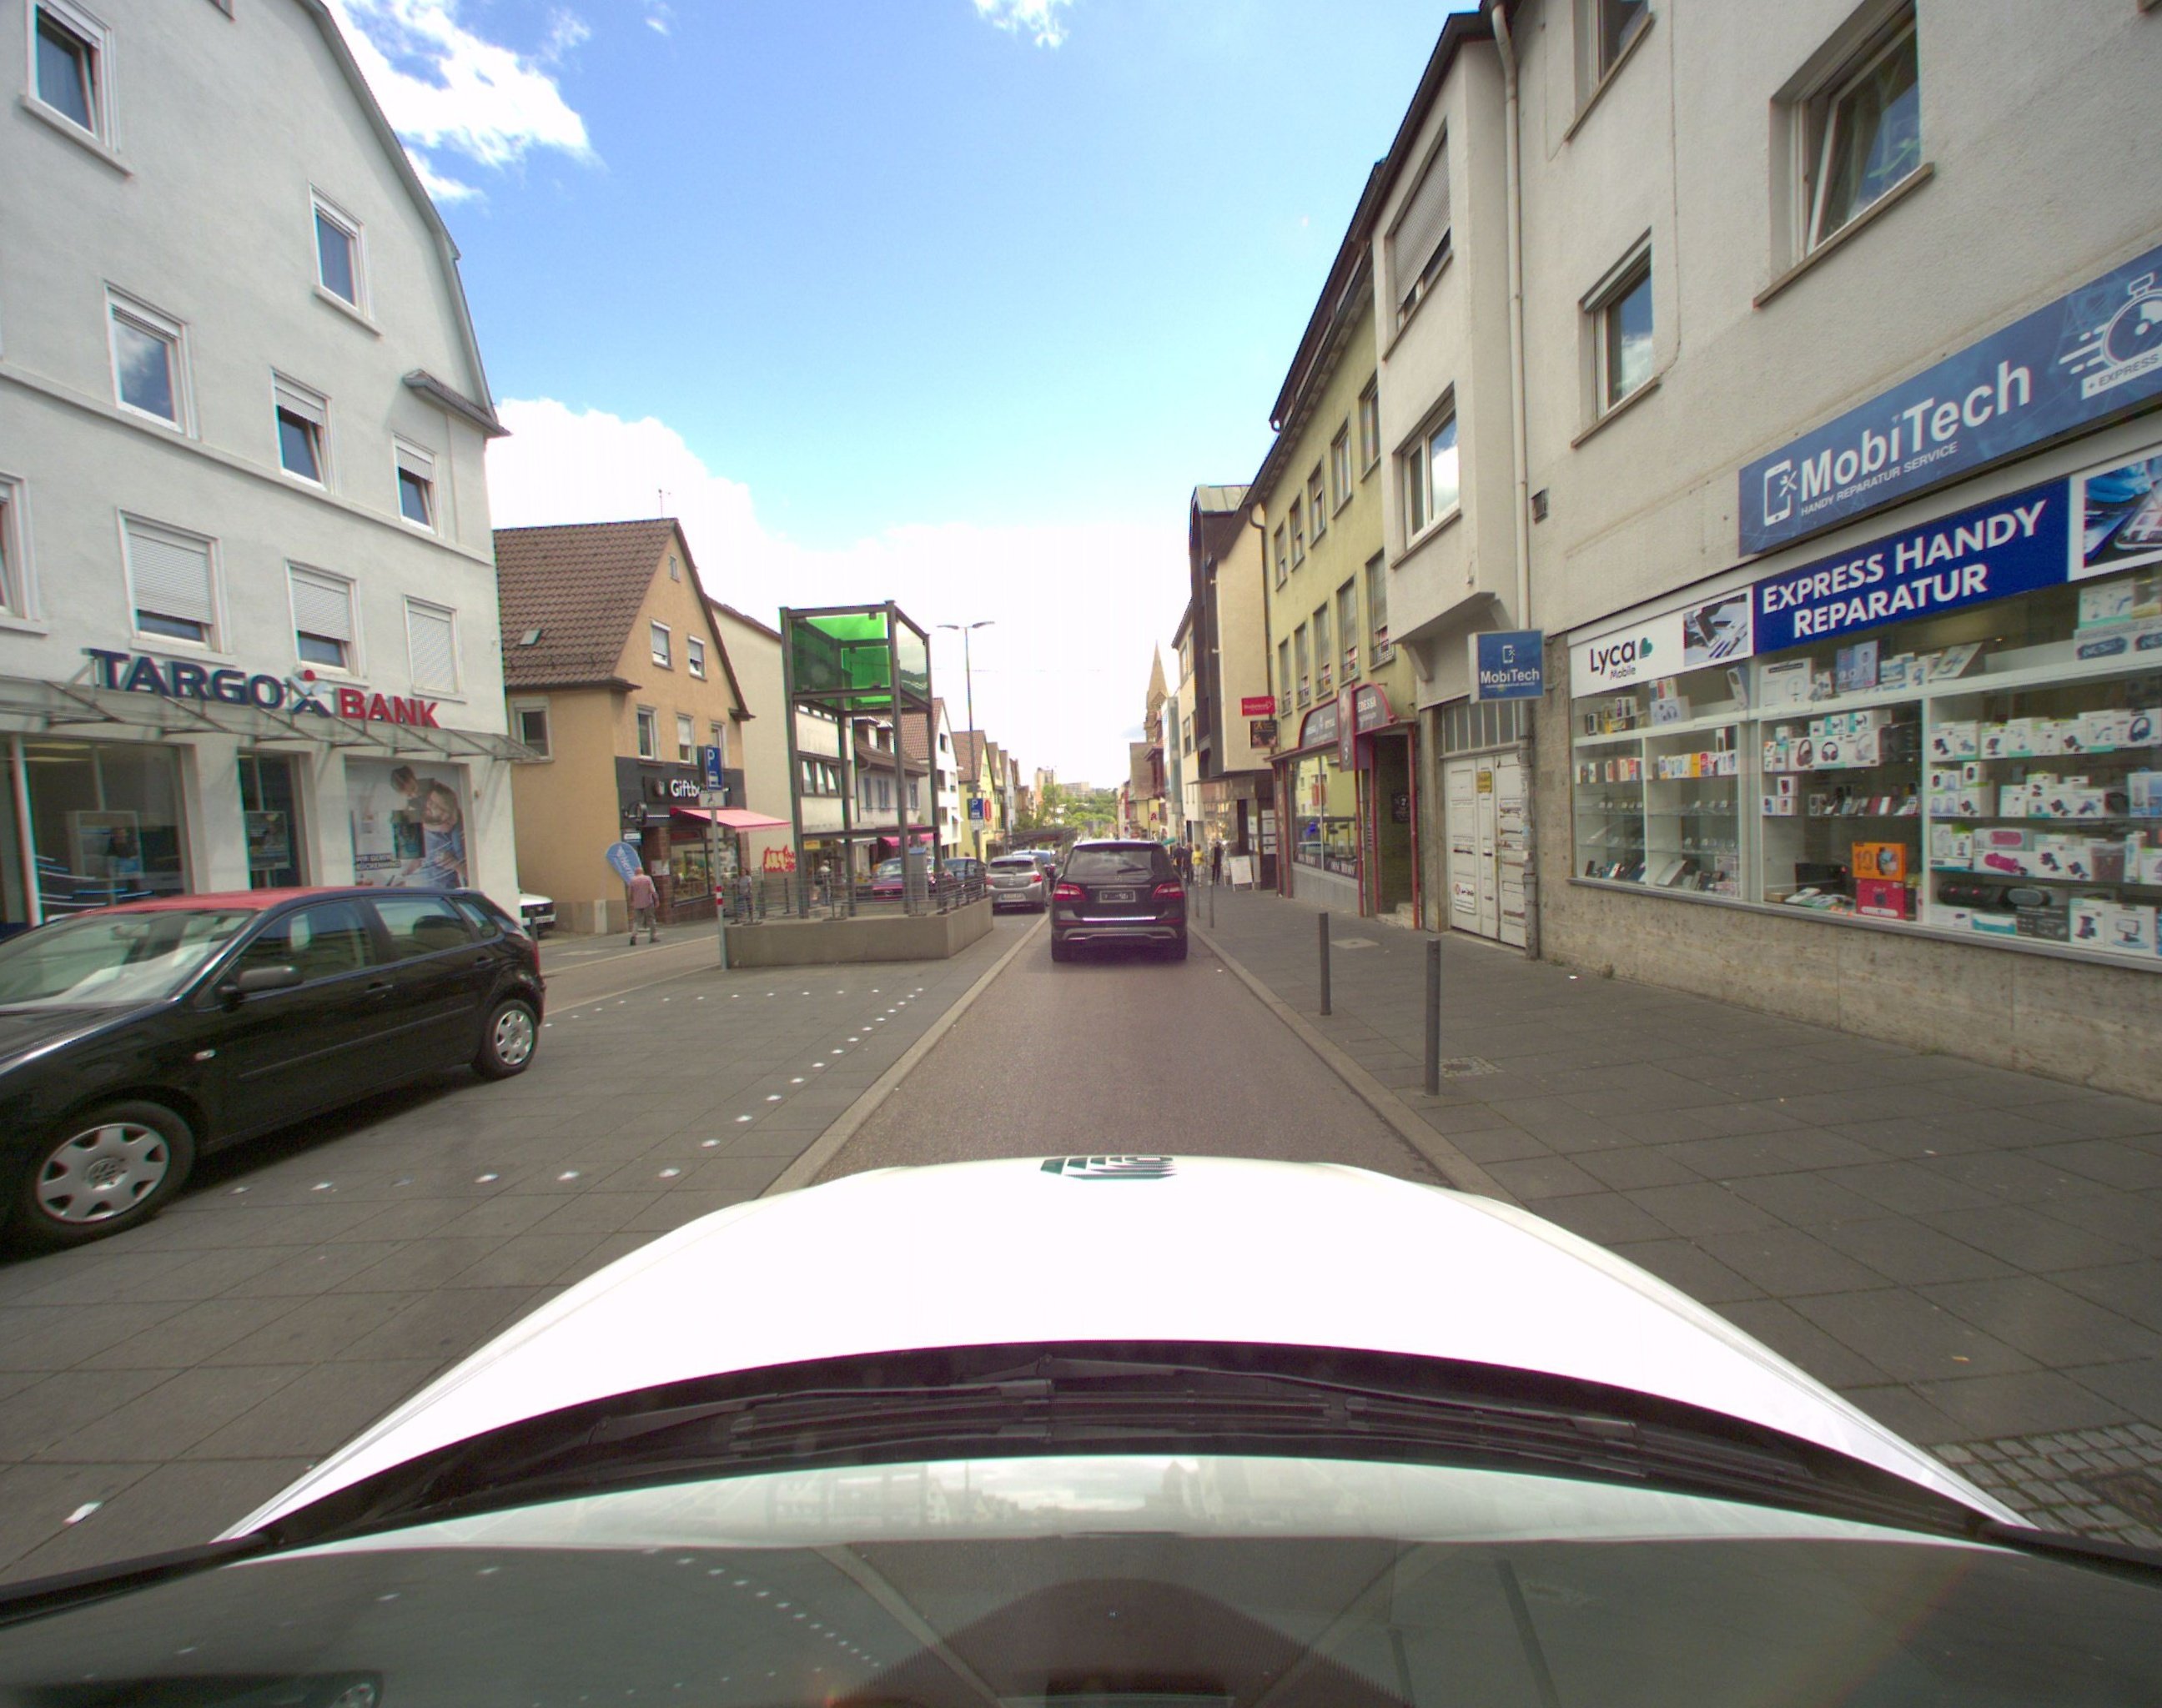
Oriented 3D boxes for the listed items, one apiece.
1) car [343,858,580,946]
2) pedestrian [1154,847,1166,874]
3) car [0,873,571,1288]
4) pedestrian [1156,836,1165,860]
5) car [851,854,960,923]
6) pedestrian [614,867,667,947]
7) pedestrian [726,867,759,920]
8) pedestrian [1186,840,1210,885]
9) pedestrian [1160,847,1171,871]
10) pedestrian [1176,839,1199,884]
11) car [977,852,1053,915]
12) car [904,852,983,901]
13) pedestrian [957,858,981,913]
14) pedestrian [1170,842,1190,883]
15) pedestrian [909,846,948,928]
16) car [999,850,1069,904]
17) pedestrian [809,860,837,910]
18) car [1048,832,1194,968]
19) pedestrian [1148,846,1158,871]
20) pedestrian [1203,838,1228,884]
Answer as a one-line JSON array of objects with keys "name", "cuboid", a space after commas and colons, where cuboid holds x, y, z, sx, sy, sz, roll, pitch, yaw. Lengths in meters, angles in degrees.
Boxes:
[{"name": "car", "cuboid": [-14.420, 1.072, 19.132, 4.056, 1.873, 1.883, 1, 0, 1]}, {"name": "pedestrian", "cuboid": [4.959, 0.432, 51.259, 0.620, 1.689, 0.565, -1, 0, -5]}, {"name": "car", "cuboid": [-4.891, 0.917, 4.635, 1.564, 1.475, 3.854, -2, 0, -1]}, {"name": "pedestrian", "cuboid": [5.769, -0.442, 59.098, 0.572, 1.689, 0.565, -1, 0, -5]}, {"name": "car", "cuboid": [-4.305, 0.793, 20.607, 1.732, 1.543, 4.194, -1, 0, 1]}, {"name": "pedestrian", "cuboid": [-9.625, 1.139, 17.812, 0.636, 1.689, 0.829, -2, 0, 6]}, {"name": "pedestrian", "cuboid": [-10.344, 1.195, 24.907, 0.563, 1.573, 0.717, -4, 0, 1]}, {"name": "pedestrian", "cuboid": [4.364, 0.306, 30.462, 0.708, 1.631, 0.835, -4, 0, 1]}, {"name": "pedestrian", "cuboid": [6.026, 0.346, 58.074, 0.572, 1.689, 0.565, -4, 0, -5]}, {"name": "pedestrian", "cuboid": [4.239, 0.300, 32.469, 0.708, 1.753, 0.785, -4, 0, 1]}, {"name": "car", "cuboid": [-1.675, 0.727, 21.772, 1.614, 1.532, 3.671, -1, 0, 1]}, {"name": "car", "cuboid": [-4.503, 0.706, 27.241, 1.731, 1.475, 3.888, 0, 1, 4]}, {"name": "pedestrian", "cuboid": [-3.006, 0.831, 21.858, 0.464, 1.431, 0.492, -4, 0, 1]}, {"name": "pedestrian", "cuboid": [4.311, 0.352, 35.483, 0.708, 1.753, 0.787, -2, 0, 1]}, {"name": "pedestrian", "cuboid": [-3.218, 0.668, 17.235, 0.531, 1.672, 0.902, -2, 0, 4]}, {"name": "car", "cuboid": [-1.494, 0.725, 27.465, 1.949, 1.639, 4.316, -1, 0, 1]}, {"name": "pedestrian", "cuboid": [-9.073, 1.079, 28.621, 0.638, 1.689, 0.670, -2, -1, 41]}, {"name": "car", "cuboid": [0.524, 0.602, 12.641, 1.894, 1.747, 3.999, -1, 0, 0]}, {"name": "pedestrian", "cuboid": [5.019, 0.299, 56.614, 0.541, 1.726, 0.527, -3, 0, -5]}, {"name": "pedestrian", "cuboid": [5.123, 0.267, 31.085, 0.662, 1.689, 0.542, -6, 0, -5]}]
